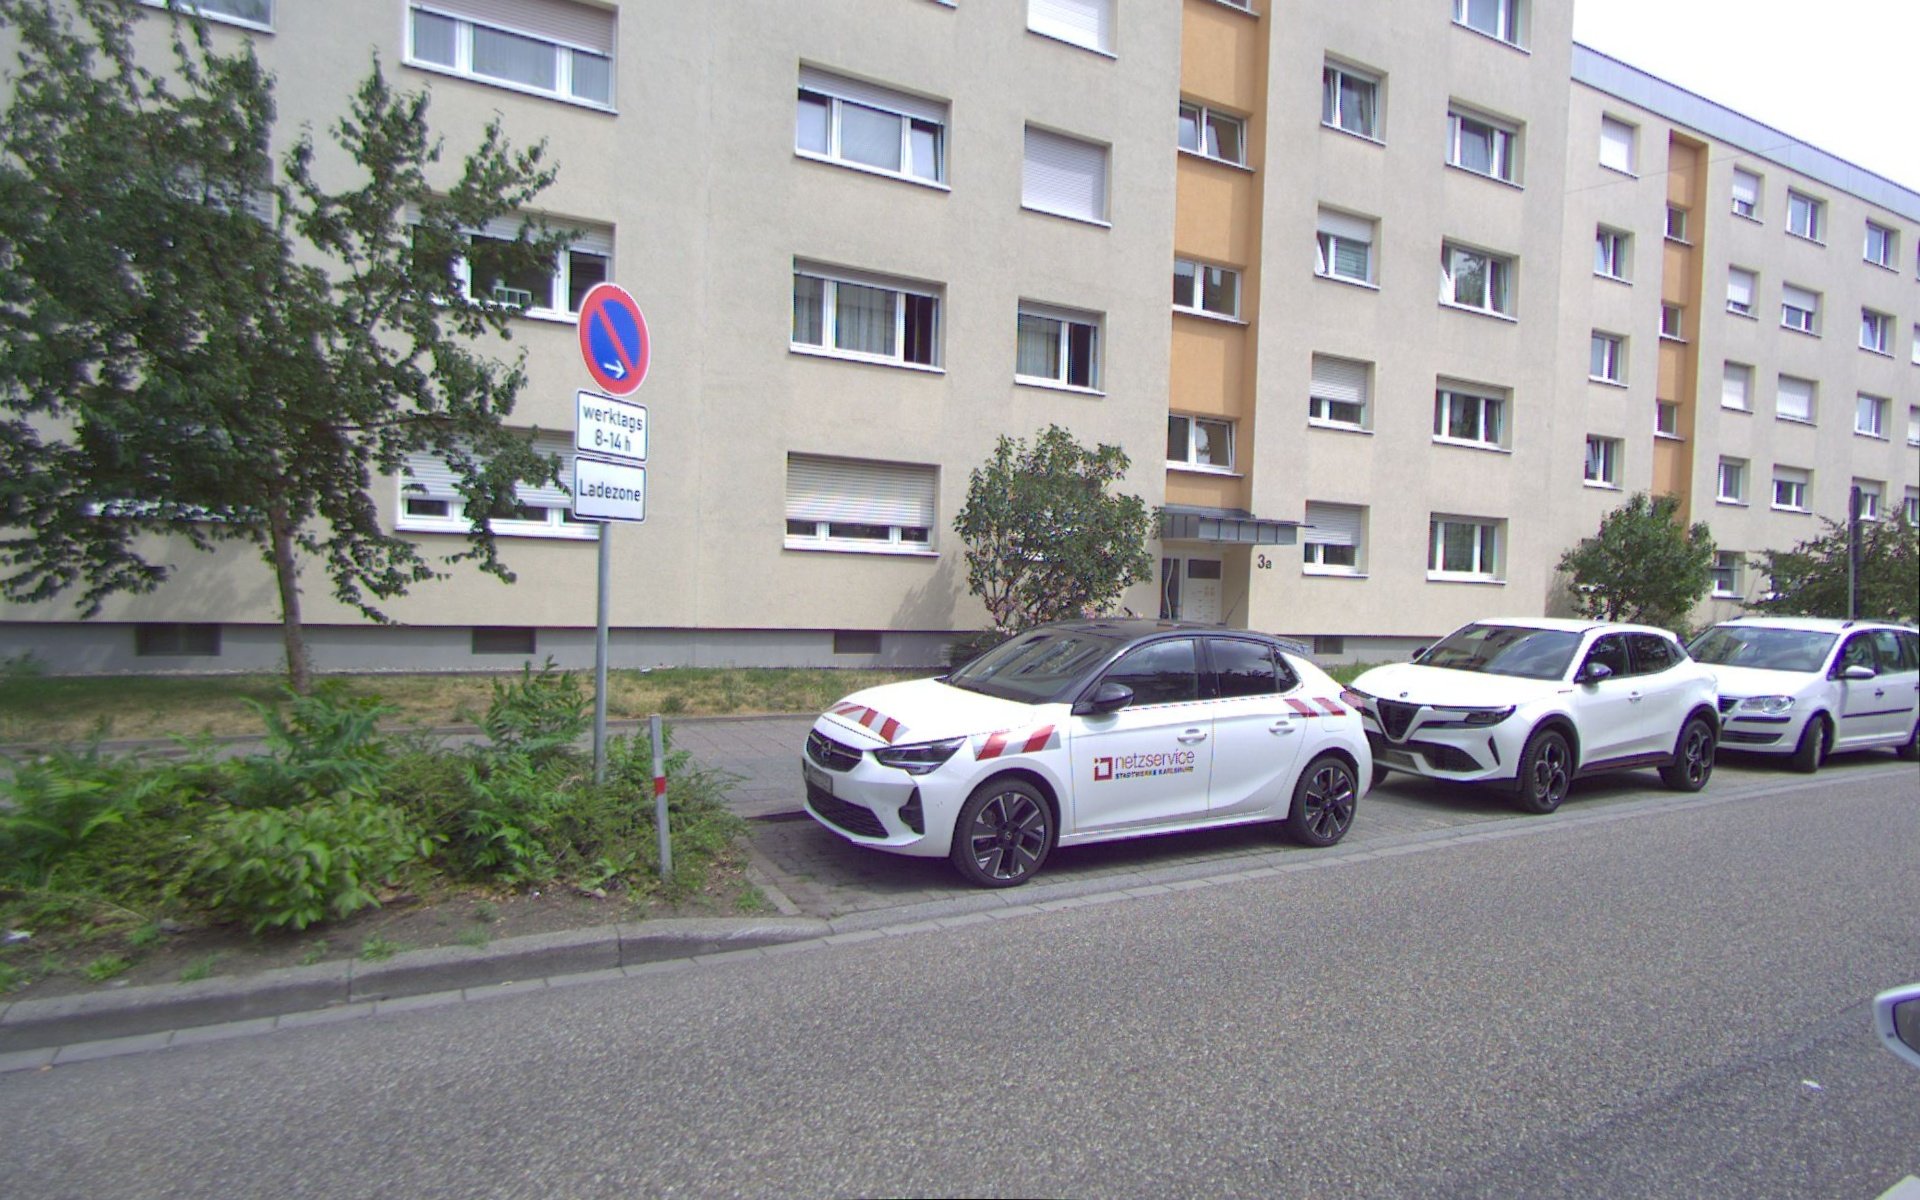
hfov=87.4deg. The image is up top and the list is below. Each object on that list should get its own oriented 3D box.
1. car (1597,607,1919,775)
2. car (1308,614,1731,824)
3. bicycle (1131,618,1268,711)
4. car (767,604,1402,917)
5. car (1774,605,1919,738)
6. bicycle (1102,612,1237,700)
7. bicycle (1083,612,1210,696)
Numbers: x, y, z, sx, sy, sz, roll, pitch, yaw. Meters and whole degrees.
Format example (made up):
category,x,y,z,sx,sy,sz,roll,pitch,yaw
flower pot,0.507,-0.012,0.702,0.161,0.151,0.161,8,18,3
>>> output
category,x,y,z,sx,sy,sz,roll,pitch,yaw
car,9.844,0.997,12.015,4.420,1.634,1.691,2,2,-27
car,5.279,0.964,9.363,3.945,1.492,1.699,2,2,-32
bicycle,3.478,0.920,14.595,1.904,1.268,0.578,1,1,-20
car,0.888,0.866,6.737,3.940,1.492,1.701,2,2,-29
car,14.281,1.008,14.704,4.801,1.634,1.934,2,2,-29
bicycle,3.203,0.841,15.322,2.013,1.268,0.535,1,1,-20
bicycle,2.963,0.840,15.942,1.932,1.268,0.562,1,1,-20
